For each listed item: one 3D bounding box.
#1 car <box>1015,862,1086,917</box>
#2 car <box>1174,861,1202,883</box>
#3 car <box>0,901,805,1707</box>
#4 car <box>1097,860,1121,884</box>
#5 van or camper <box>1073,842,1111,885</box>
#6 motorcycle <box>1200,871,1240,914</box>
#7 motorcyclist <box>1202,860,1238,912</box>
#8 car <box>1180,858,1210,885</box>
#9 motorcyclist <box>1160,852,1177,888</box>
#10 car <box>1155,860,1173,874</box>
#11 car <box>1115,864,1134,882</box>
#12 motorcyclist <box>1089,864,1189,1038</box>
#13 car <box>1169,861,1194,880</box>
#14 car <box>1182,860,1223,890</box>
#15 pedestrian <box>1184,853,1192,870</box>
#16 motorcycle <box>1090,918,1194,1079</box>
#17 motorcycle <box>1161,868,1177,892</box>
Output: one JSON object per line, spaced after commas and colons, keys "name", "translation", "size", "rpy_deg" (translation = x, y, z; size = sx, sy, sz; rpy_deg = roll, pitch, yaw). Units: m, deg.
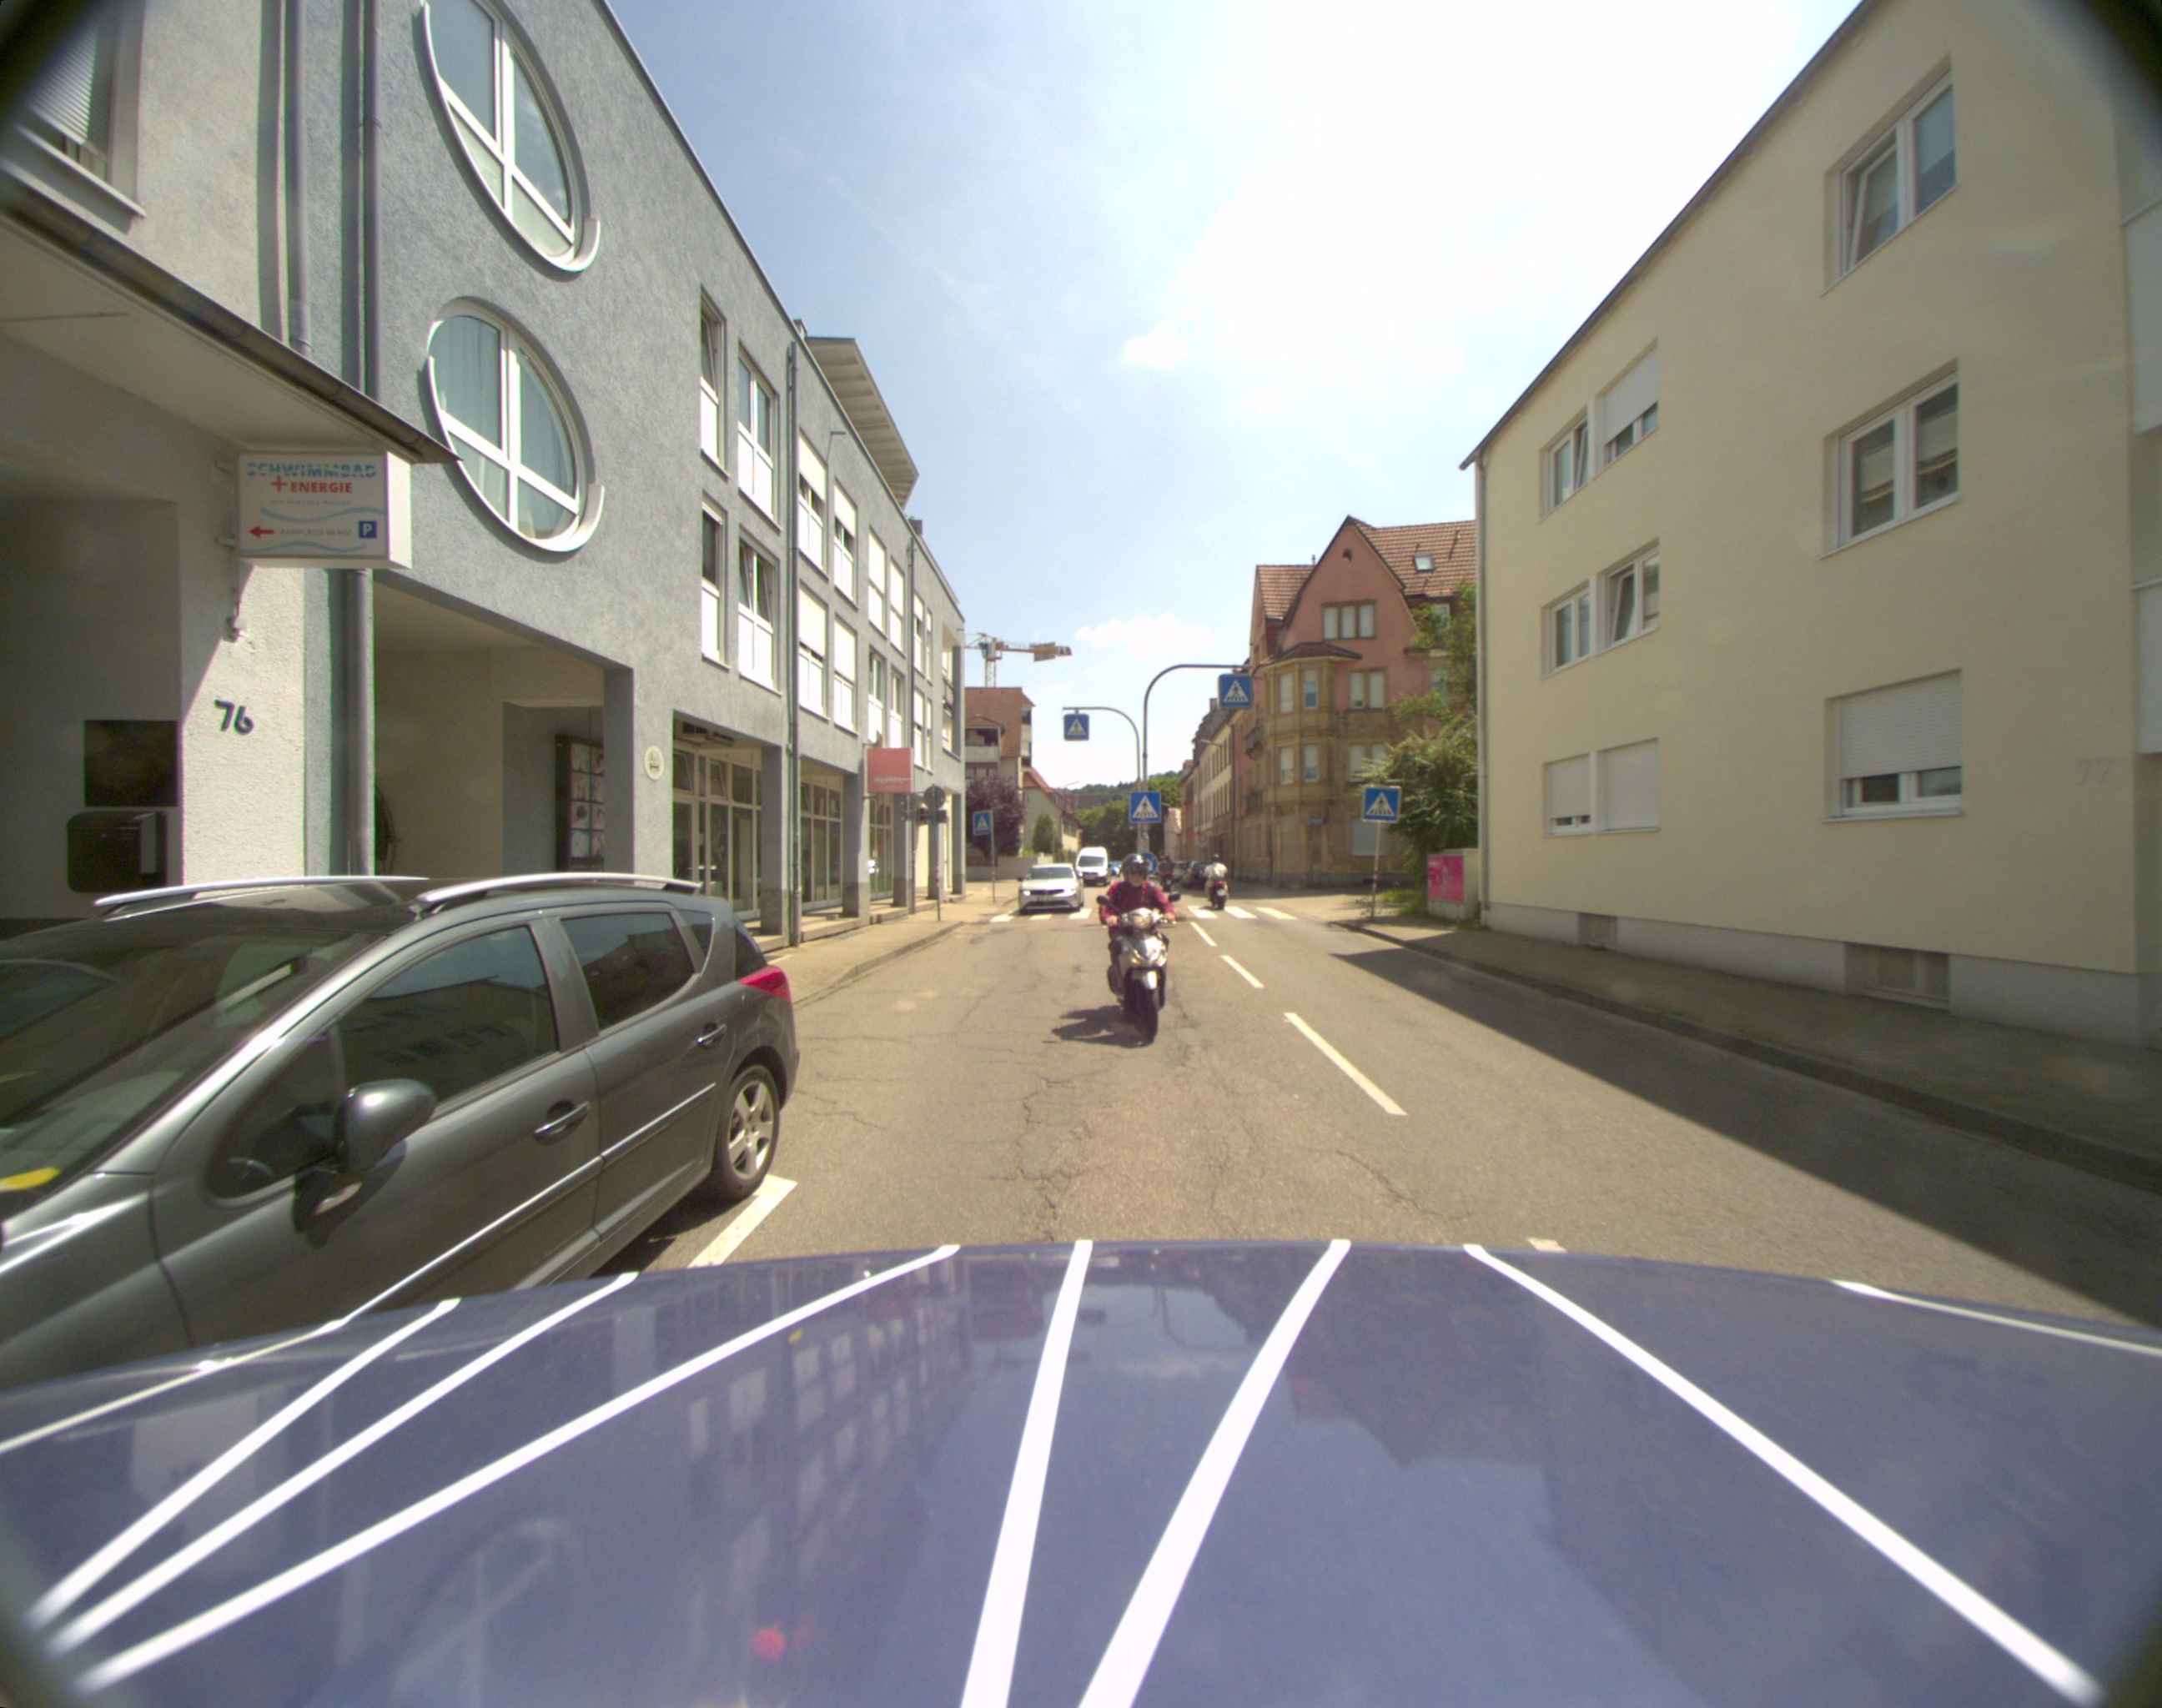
{"name": "car", "translation": [-0.844, 1.011, 23.253], "size": [1.812, 1.512, 4.001], "rpy_deg": [-1, 0, 3]}
{"name": "car", "translation": [7.506, 1.233, 53.766], "size": [1.638, 1.423, 4.019], "rpy_deg": [1, 0, 4]}
{"name": "car", "translation": [-2.425, 1.002, 2.064], "size": [1.713, 1.499, 4.001], "rpy_deg": [0, 0, 3]}
{"name": "car", "translation": [2.568, 1.608, 68.667], "size": [1.998, 2.002, 4.001], "rpy_deg": [-2, 0, 4]}
{"name": "van or camper", "translation": [0.704, 0.543, 43.110], "size": [1.998, 2.273, 5.145], "rpy_deg": [0, -1, 2]}
{"name": "motorcycle", "translation": [4.116, 1.113, 22.677], "size": [0.898, 1.169, 2.208], "rpy_deg": [0, 0, 2]}
{"name": "motorcyclist", "translation": [4.119, 0.935, 22.597], "size": [0.918, 1.471, 1.203], "rpy_deg": [0, 0, 2]}
{"name": "car", "translation": [6.678, 1.027, 44.668], "size": [1.440, 1.514, 2.696], "rpy_deg": [0, 0, 3]}
{"name": "motorcyclist", "translation": [3.974, 0.728, 34.572], "size": [0.714, 1.625, 1.069], "rpy_deg": [1, 0, 6]}
{"name": "car", "translation": [9.057, 1.442, 83.462], "size": [1.714, 1.450, 3.854], "rpy_deg": [1, 0, 3]}
{"name": "car", "translation": [5.126, 2.220, 89.930], "size": [1.998, 2.002, 4.002], "rpy_deg": [-2, 0, 5]}
{"name": "motorcyclist", "translation": [0.506, 0.812, 6.801], "size": [0.793, 1.431, 1.021], "rpy_deg": [-1, 0, 3]}
{"name": "car", "translation": [7.868, 1.249, 59.610], "size": [1.602, 1.433, 3.496], "rpy_deg": [1, 0, 2]}
{"name": "car", "translation": [6.390, 1.071, 40.348], "size": [1.786, 1.449, 4.636], "rpy_deg": [0, 0, 4]}
{"name": "pedestrian", "translation": [11.057, 0.753, 78.497], "size": [0.770, 1.760, 0.764], "rpy_deg": [-2, 0, 2]}
{"name": "motorcycle", "translation": [0.509, 1.167, 6.680], "size": [0.760, 1.049, 1.992], "rpy_deg": [-1, 0, 3]}
{"name": "motorcycle", "translation": [3.998, 1.176, 34.697], "size": [0.714, 1.022, 2.240], "rpy_deg": [1, 0, 6]}
